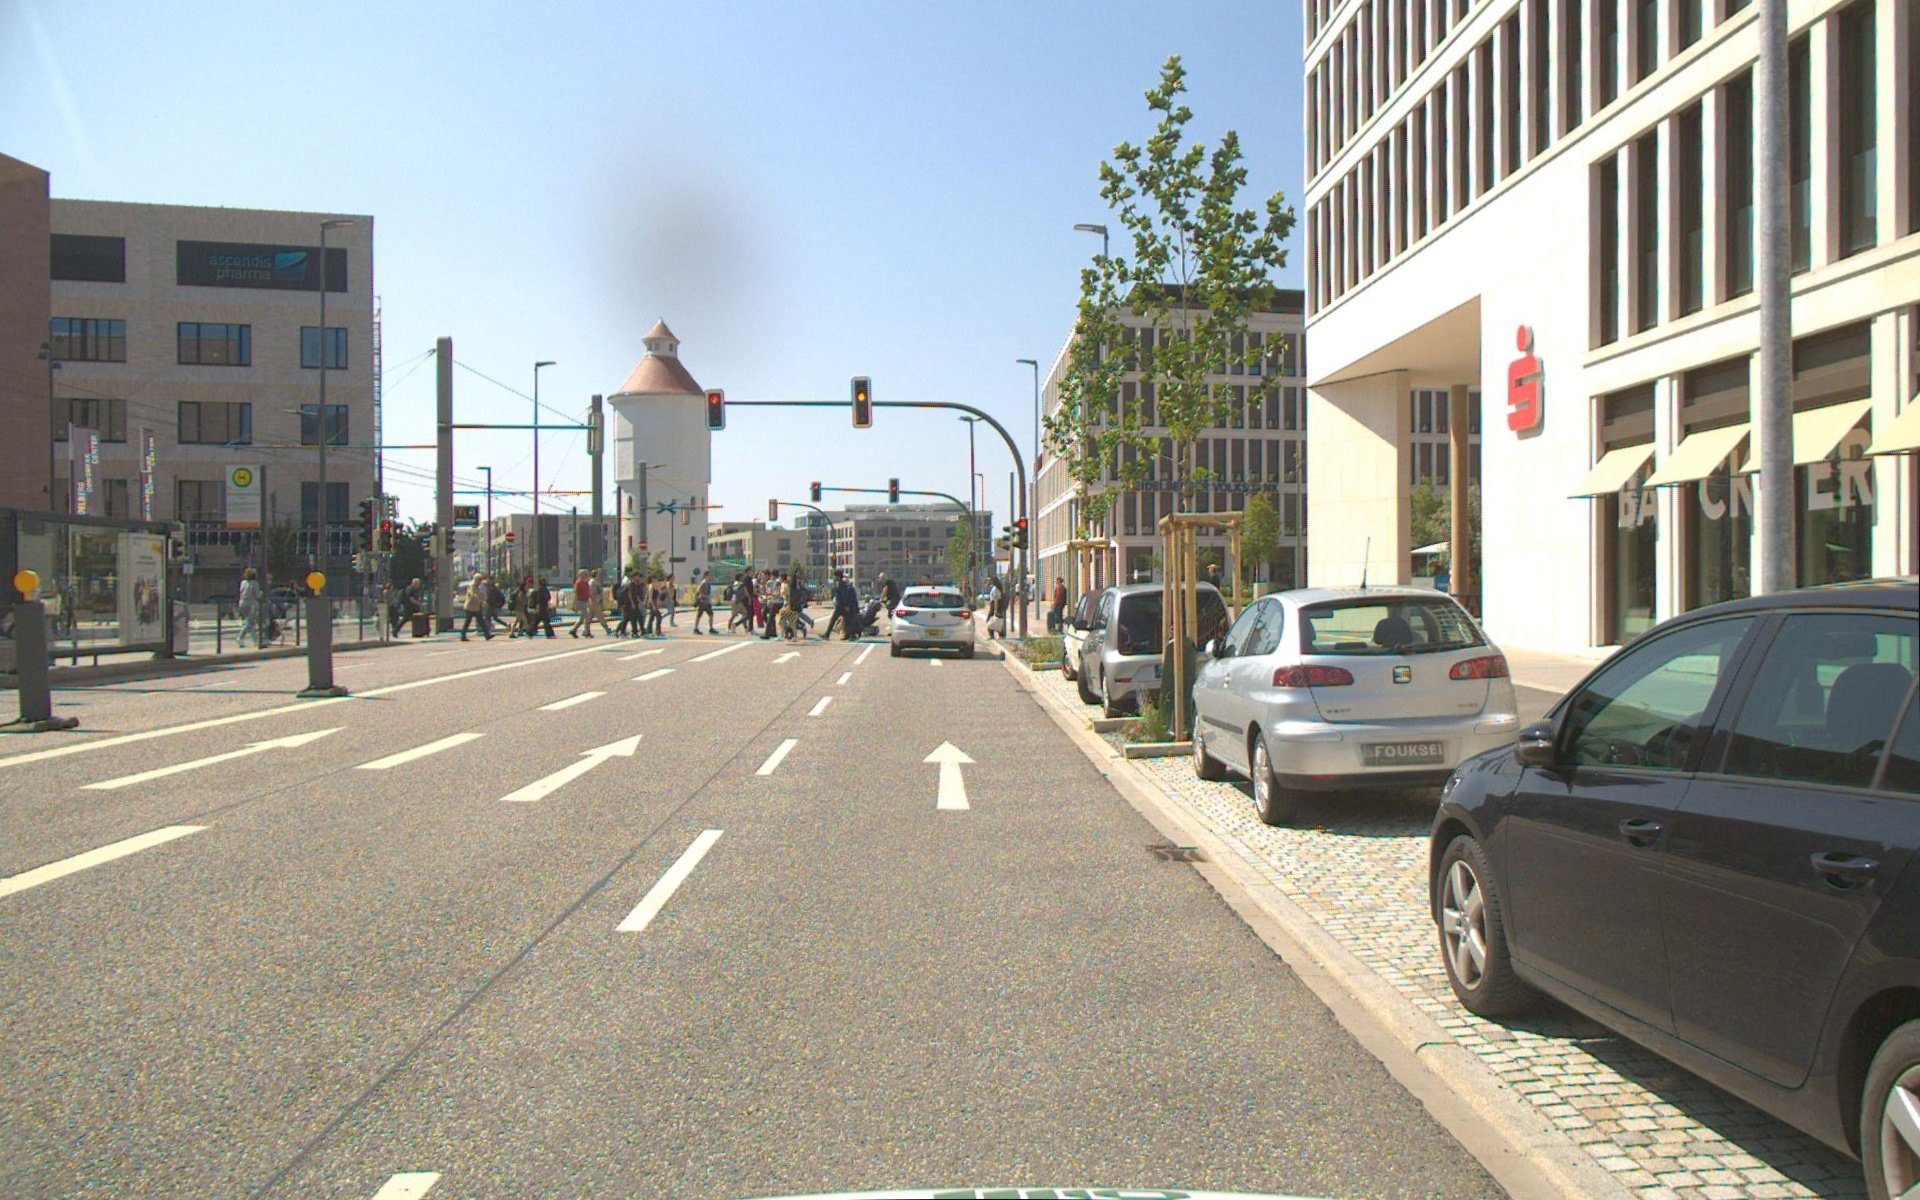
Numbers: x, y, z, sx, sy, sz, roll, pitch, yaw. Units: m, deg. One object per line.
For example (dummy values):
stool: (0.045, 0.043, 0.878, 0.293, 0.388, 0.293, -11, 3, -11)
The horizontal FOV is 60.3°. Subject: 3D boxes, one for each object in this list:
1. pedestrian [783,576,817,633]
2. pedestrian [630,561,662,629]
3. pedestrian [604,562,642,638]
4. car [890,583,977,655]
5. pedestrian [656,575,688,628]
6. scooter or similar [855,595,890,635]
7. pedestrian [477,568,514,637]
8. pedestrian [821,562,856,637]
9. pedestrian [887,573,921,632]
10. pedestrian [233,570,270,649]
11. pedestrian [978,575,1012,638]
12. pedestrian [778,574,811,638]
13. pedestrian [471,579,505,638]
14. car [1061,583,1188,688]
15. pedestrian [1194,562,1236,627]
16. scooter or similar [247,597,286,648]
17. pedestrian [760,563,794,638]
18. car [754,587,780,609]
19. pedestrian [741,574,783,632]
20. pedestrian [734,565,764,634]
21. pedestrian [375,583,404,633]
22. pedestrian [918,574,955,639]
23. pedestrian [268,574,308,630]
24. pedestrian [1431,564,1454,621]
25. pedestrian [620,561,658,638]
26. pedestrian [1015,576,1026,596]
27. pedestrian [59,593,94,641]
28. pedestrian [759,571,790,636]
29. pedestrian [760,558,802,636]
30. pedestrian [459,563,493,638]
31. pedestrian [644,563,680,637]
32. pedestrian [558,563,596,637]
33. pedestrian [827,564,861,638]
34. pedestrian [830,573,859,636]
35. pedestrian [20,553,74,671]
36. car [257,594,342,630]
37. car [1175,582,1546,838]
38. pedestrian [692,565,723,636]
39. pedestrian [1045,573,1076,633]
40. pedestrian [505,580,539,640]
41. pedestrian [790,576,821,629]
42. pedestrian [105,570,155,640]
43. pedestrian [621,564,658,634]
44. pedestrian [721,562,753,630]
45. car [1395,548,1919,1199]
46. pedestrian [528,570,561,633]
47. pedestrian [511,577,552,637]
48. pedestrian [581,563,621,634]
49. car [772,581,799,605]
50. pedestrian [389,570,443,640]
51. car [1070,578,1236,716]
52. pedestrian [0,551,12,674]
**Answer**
pedestrian: (-4.726, 0.119, 48.885, 0.869, 1.675, 0.797, 0, 0, 3)
pedestrian: (-9.033, -0.136, 47.589, 0.719, 1.923, 0.714, 1, 0, 4)
pedestrian: (-8.655, -0.013, 42.471, 0.871, 1.923, 0.691, 0, 0, -6)
car: (-0.514, 0.409, 35.548, 1.735, 1.419, 3.532, 1, -1, 1)
pedestrian: (-9.225, 0.033, 53.007, 0.869, 1.675, 0.797, 0, 0, 3)
scooter or similar: (-2.532, 0.434, 47.833, 0.933, 1.137, 0.765, -1, 0, -11)
pedestrian: (-13.929, 0.068, 49.563, 1.005, 2.049, 0.949, -1, 0, -20)
pedestrian: (-3.140, -0.025, 42.821, 0.870, 1.923, 0.795, 0, 0, -6)
pedestrian: (-1.627, 0.070, 48.007, 0.872, 1.675, 0.794, -1, 0, -11)
pedestrian: (-14.868, 0.191, 34.740, 0.494, 1.650, 0.650, 0, 0, -1)
pedestrian: (0.926, 0.174, 43.567, 0.750, 1.648, 0.692, 0, 0, 15)
pedestrian: (-4.424, 0.158, 44.227, 0.777, 1.675, 0.891, 0, 0, 1)
pedestrian: (-13.853, 0.239, 48.531, 0.880, 1.703, 1.007, -1, 0, -19)
car: (2.361, 0.465, 24.539, 1.400, 1.414, 3.999, 0, 1, -1)
pedestrian: (6.671, -0.137, 43.301, 0.970, 1.684, 0.692, 0, 0, 0)
scooter or similar: (-14.886, 0.482, 35.499, 0.494, 1.077, 0.833, 0, 0, -1)
pedestrian: (-4.782, 0.009, 43.263, 0.715, 1.923, 0.821, 0, 0, 5)
car: (-13.881, -0.142, 119.103, 1.554, 1.557, 3.257, 0, 0, -1)
pedestrian: (-6.405, 0.101, 53.516, 1.156, 1.852, 1.069, 0, 0, 3)
pedestrian: (-5.924, -0.017, 46.438, 0.750, 1.923, 0.692, 0, 0, 0)
pedestrian: (-19.556, 0.275, 56.703, 0.659, 1.711, 0.692, 0, 0, 40)
pedestrian: (-0.608, 0.163, 42.784, 0.871, 1.663, 0.691, 0, 0, -6)
pedestrian: (-23.432, 0.069, 57.670, 0.869, 1.923, 0.984, 0, 0, 19)
pedestrian: (17.607, -0.278, 60.327, 0.630, 2.049, 0.622, 0, 0, -1)
pedestrian: (-8.081, -0.009, 41.662, 0.871, 1.923, 0.691, 0, 0, -6)
pedestrian: (4.967, -1.136, 135.905, 0.778, 1.675, 0.890, 0, 0, -2)
pedestrian: (-29.925, 0.556, 56.014, 0.696, 1.599, 0.890, 0, 0, -2)
pedestrian: (-5.036, 0.092, 44.965, 0.750, 1.764, 0.692, 0, 0, 0)
pedestrian: (-4.491, -0.083, 41.536, 0.993, 1.923, 0.798, 0, 0, -4)
pedestrian: (-12.496, 0.009, 42.754, 0.623, 1.923, 0.796, 0, 0, 0)
pedestrian: (-7.822, -0.002, 43.396, 0.871, 1.923, 0.691, 0, 0, -6)
pedestrian: (-9.998, -0.005, 43.223, 0.871, 1.923, 0.691, 0, 0, -6)
pedestrian: (-3.068, 0.025, 43.705, 0.870, 1.923, 0.795, 0, 0, -6)
pedestrian: (-3.283, 0.128, 46.990, 0.750, 1.764, 0.692, 0, 0, 0)
pedestrian: (-14.550, 0.182, 26.378, 0.654, 1.851, 0.718, 1, 0, -24)
car: (-34.560, 0.632, 86.589, 3.873, 1.847, 1.792, 1, -1, -13)
car: (2.625, 0.631, 11.711, 1.573, 1.411, 3.814, -3, 1, -1)
pedestrian: (-6.982, 0.010, 45.781, 0.750, 1.923, 0.692, 0, 0, 0)
pedestrian: (2.851, 0.072, 46.988, 0.869, 1.675, 0.797, 0, 0, 3)
pedestrian: (-11.840, 0.271, 44.751, 0.713, 1.603, 0.642, 0, 0, 4)
pedestrian: (-4.884, 0.072, 52.308, 0.869, 1.675, 0.797, 0, 0, 3)
pedestrian: (-22.967, 0.127, 45.772, 0.958, 1.923, 0.827, 0, 0, 0)
pedestrian: (-8.947, -0.034, 46.177, 0.870, 1.923, 0.796, 0, 0, -1)
pedestrian: (-6.393, -0.124, 47.461, 0.824, 1.923, 0.692, 0, 0, 0)
car: (2.762, 0.625, 4.579, 1.703, 1.499, 3.976, -4, 1, -5)
pedestrian: (-10.936, 0.028, 43.519, 0.620, 1.646, 0.768, 0, 0, 5)
pedestrian: (-12.144, 0.199, 46.852, 0.891, 1.665, 0.814, 0, 0, 4)
pedestrian: (-9.881, -0.042, 45.546, 0.869, 1.923, 0.797, 0, 0, 4)
car: (-11.607, -0.443, 110.297, 1.555, 1.557, 3.691, 0, 0, -2)
pedestrian: (-15.534, 0.131, 47.240, 1.145, 1.923, 1.060, 0, 2, 0)
car: (2.234, 0.493, 19.887, 1.524, 1.498, 3.469, 0, 1, -1)
pedestrian: (-14.710, 0.182, 25.013, 0.542, 1.851, 0.596, 1, 0, -22)
